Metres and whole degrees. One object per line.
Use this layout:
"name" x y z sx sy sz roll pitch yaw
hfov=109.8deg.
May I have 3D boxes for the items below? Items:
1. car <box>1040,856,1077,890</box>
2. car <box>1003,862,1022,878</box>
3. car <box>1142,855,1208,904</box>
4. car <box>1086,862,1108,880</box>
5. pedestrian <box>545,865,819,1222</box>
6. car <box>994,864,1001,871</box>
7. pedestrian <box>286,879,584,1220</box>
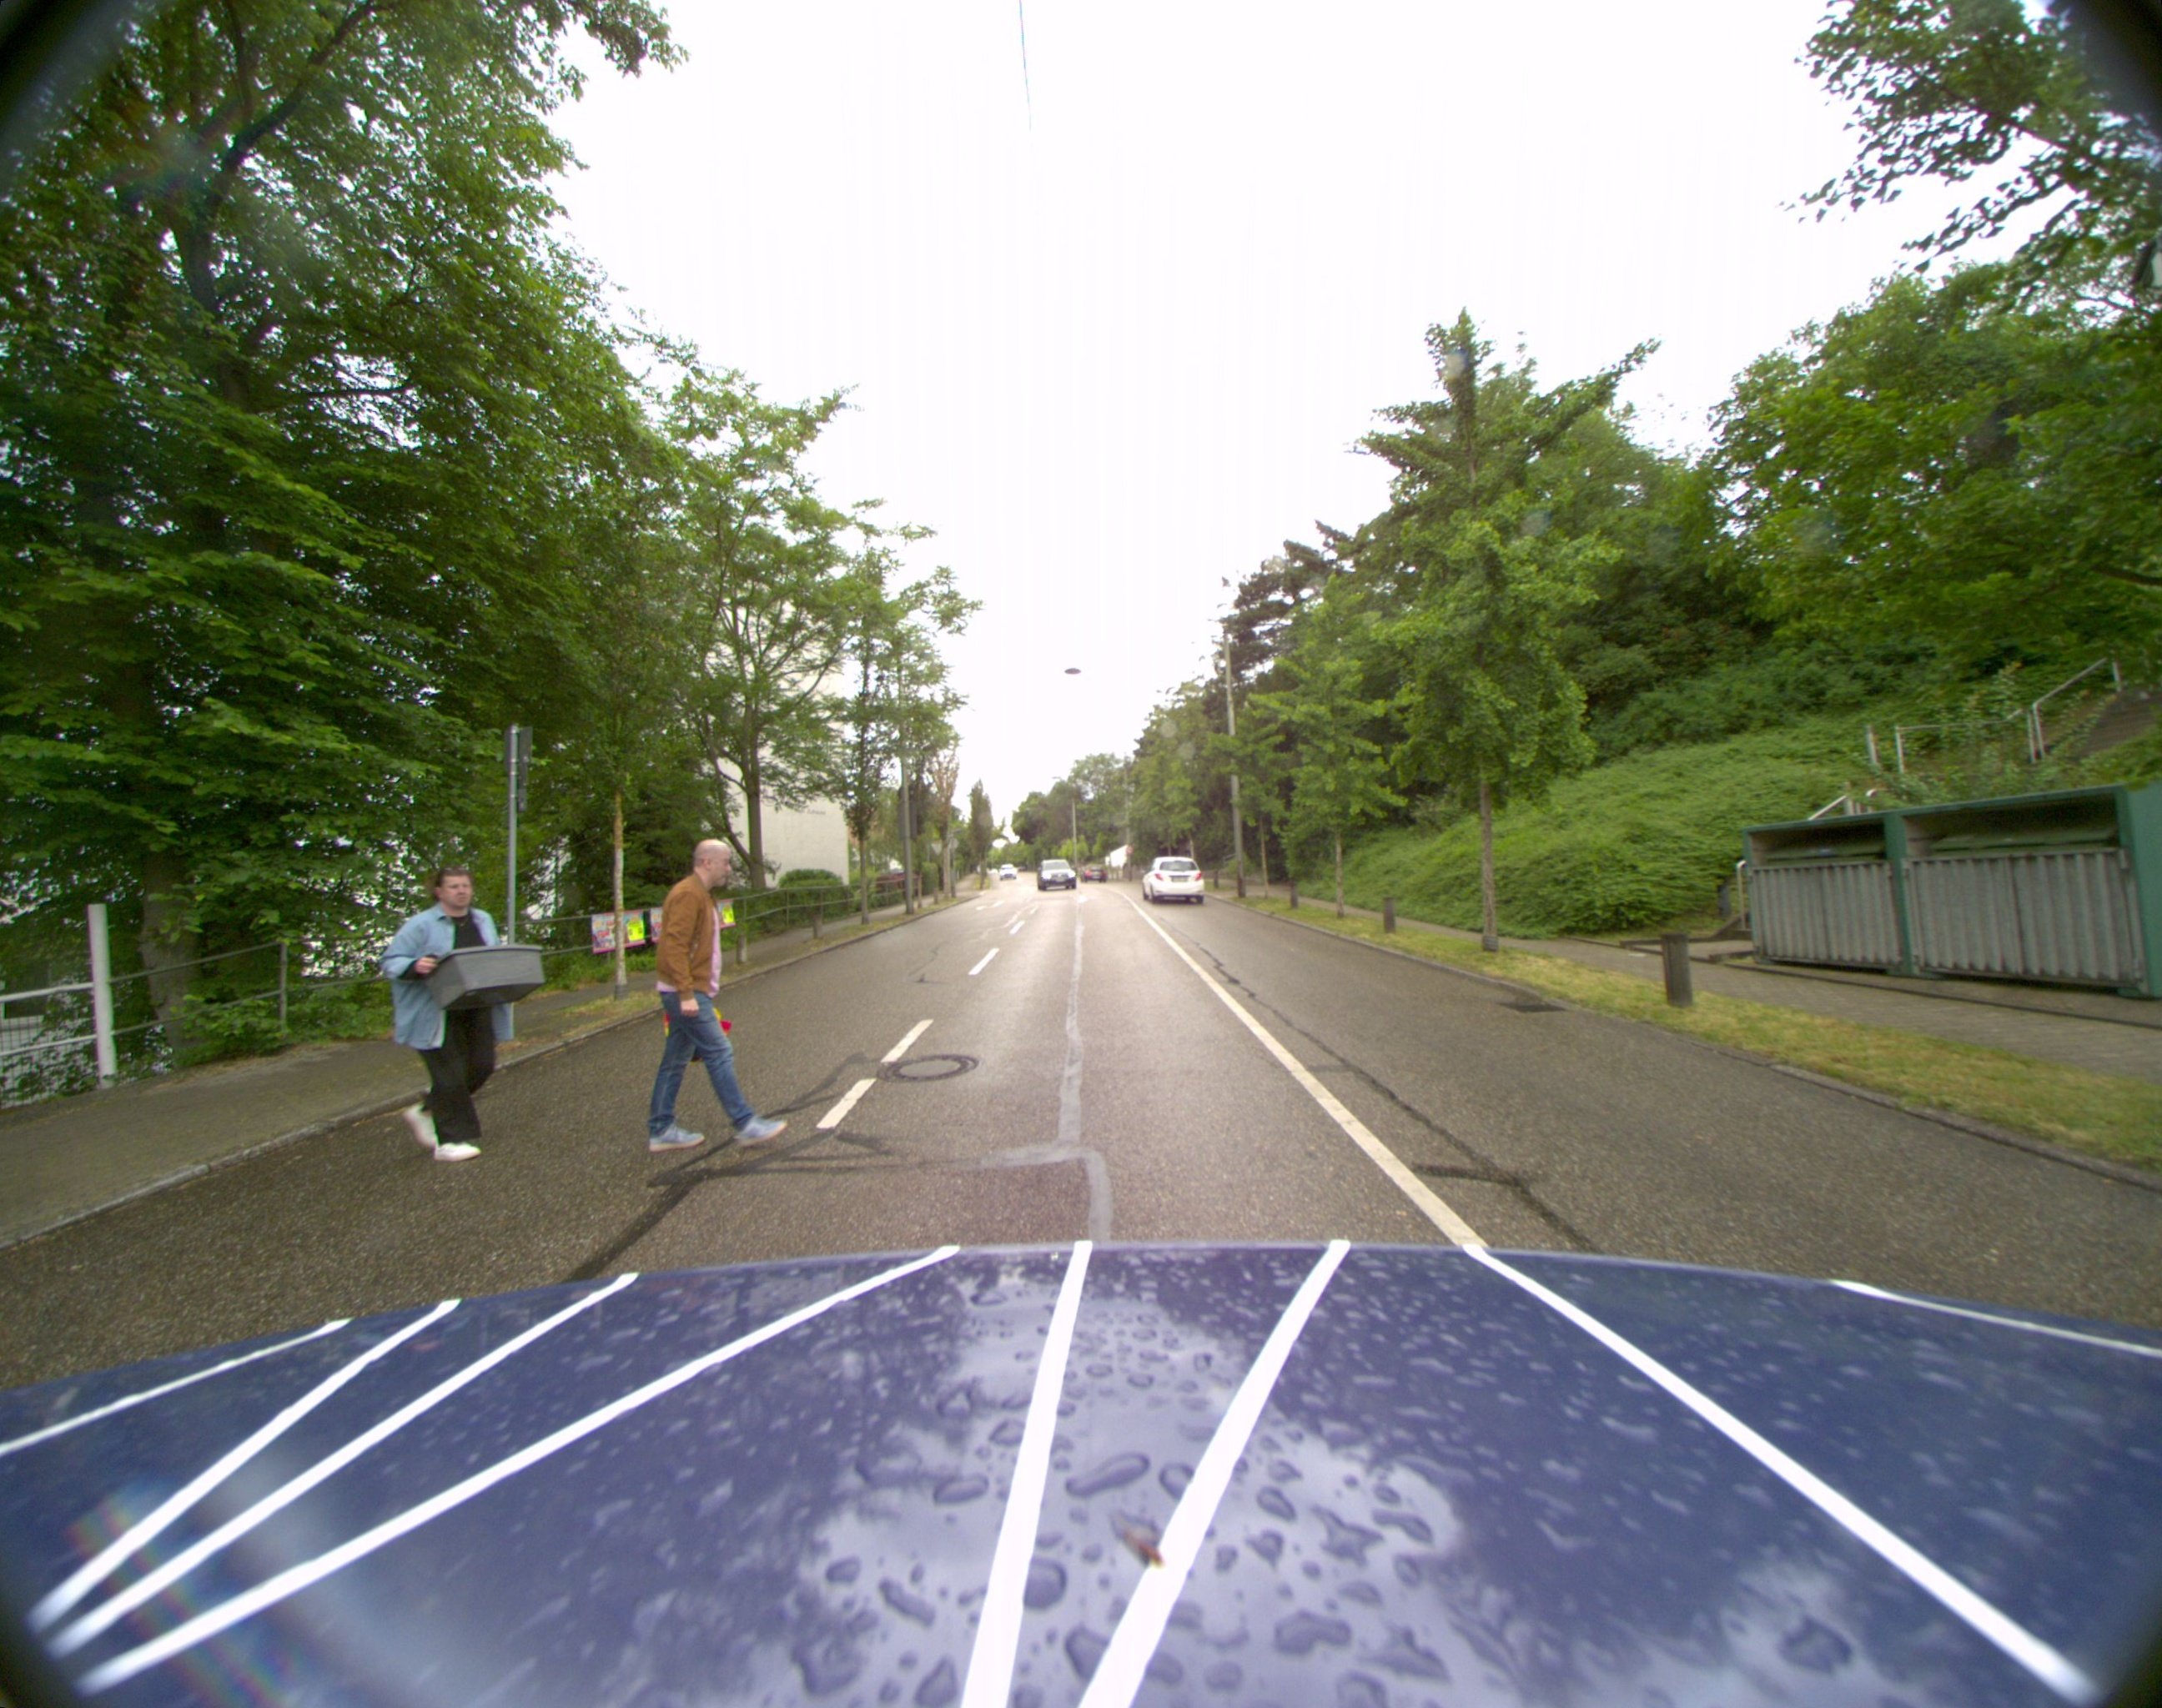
"car" -1.191 0.989 41.942 1.834 1.609 4.292 -3 1 0
"car" -7.922 1.786 88.161 1.834 1.609 4.350 -3 1 -1
"car" 3.117 0.813 25.906 1.713 1.522 3.841 0 0 -1
"car" 1.327 1.403 63.369 1.782 1.440 4.000 0 0 0
"pedestrian" -2.239 0.964 4.351 1.071 1.772 0.825 -1 1 17
"car" -23.661 3.861 215.747 1.892 1.710 4.235 -1 1 -5
"pedestrian" -3.865 1.089 4.600 1.071 1.772 0.825 -4 1 19
